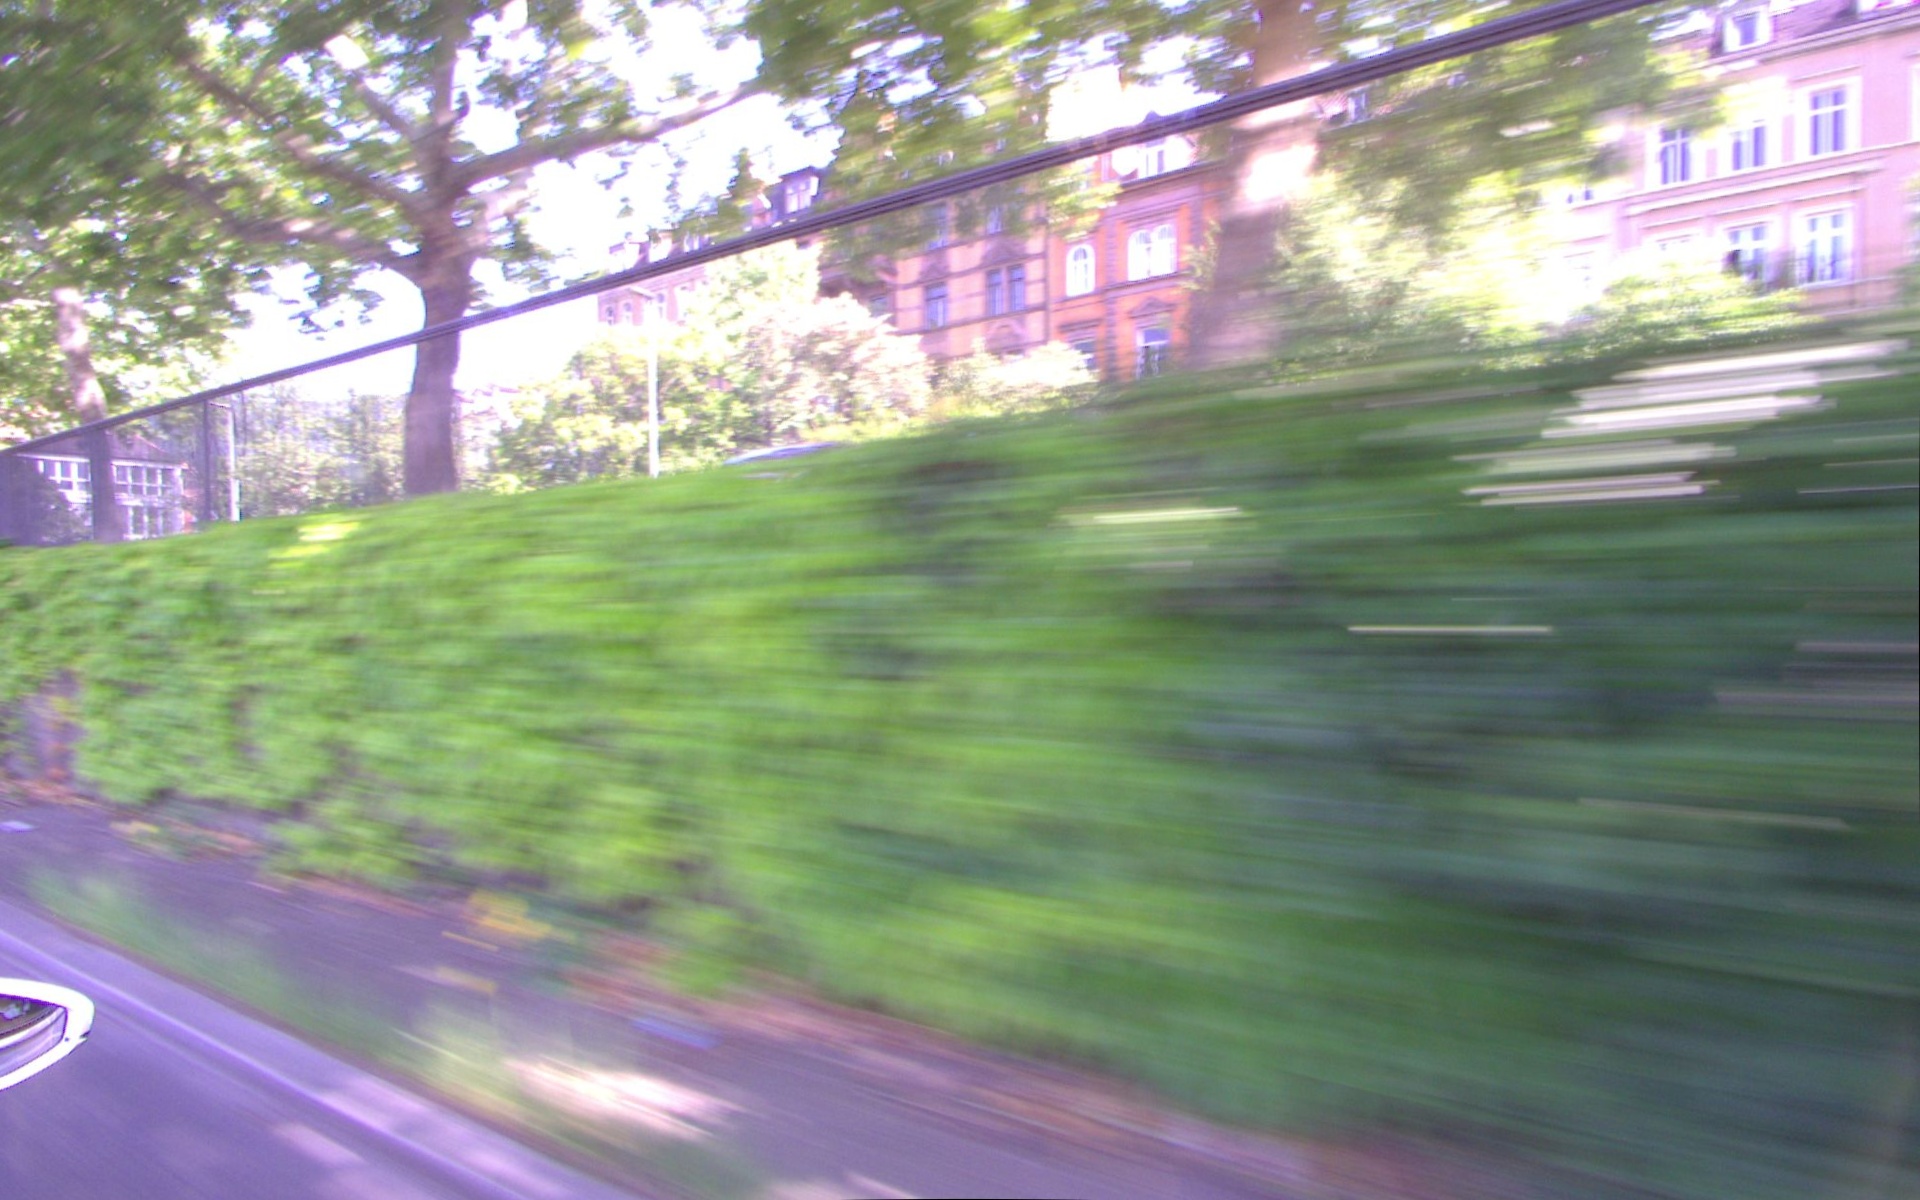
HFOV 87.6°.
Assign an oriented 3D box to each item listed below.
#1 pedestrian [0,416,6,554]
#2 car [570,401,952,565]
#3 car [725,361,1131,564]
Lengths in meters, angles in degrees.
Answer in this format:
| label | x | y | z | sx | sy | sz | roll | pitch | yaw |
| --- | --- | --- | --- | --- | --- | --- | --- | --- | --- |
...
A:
| label | x | y | z | sx | sy | sz | roll | pitch | yaw |
| --- | --- | --- | --- | --- | --- | --- | --- | --- | --- |
| pedestrian | -11.706 | -1.348 | 11.685 | 0.641 | 1.613 | 0.663 | 0 | 1 | 32 |
| car | -1.704 | -0.968 | 9.742 | 1.626 | 1.129 | 3.726 | 0 | 0 | 29 |
| car | -0.023 | -0.934 | 8.309 | 1.626 | 1.129 | 3.724 | 0 | 0 | 31 |
